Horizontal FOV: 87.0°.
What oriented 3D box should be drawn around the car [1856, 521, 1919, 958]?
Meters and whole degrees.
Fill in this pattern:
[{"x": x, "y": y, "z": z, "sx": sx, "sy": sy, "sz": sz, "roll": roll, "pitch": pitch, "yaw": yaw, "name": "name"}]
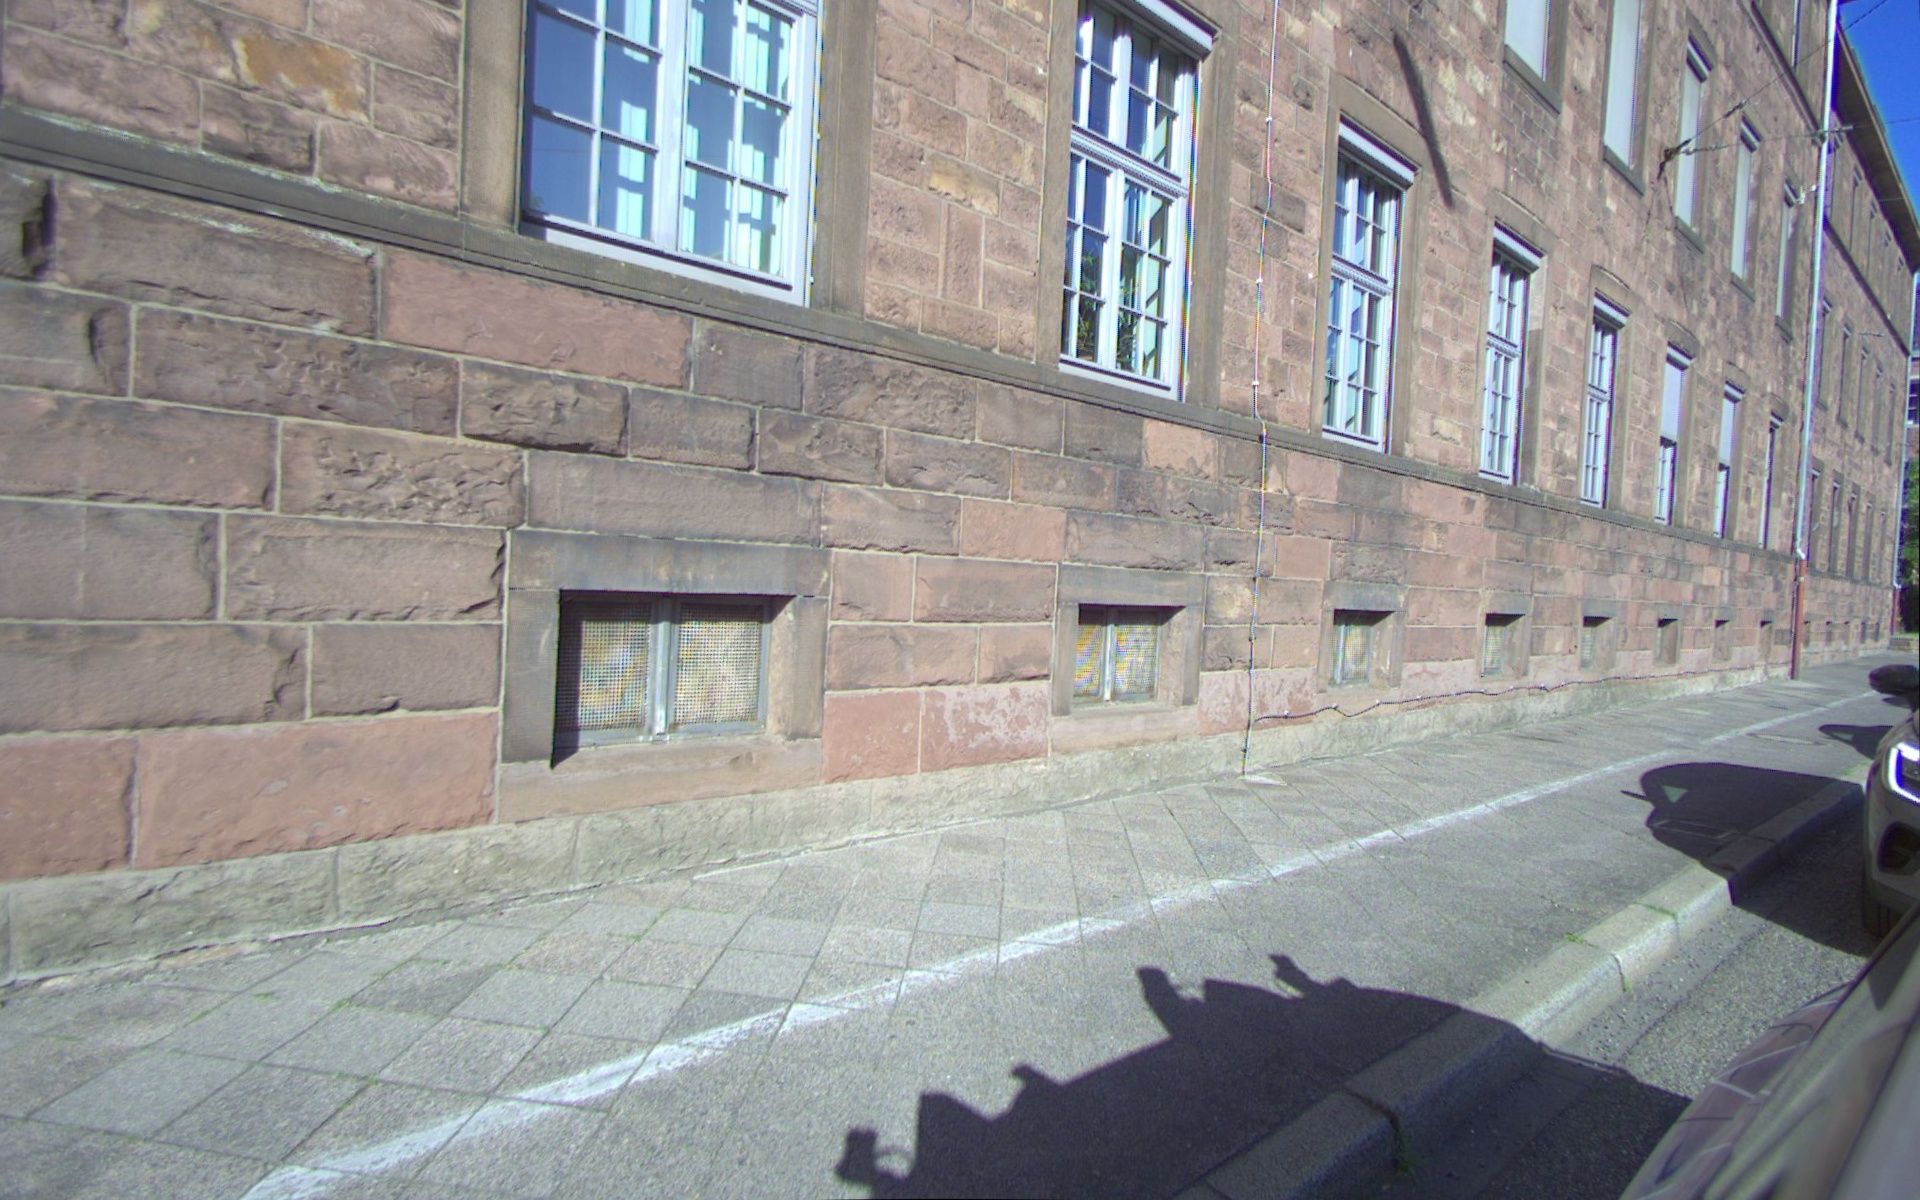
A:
[{"x": 5.424, "y": 0.556, "z": 4.502, "sx": 3.735, "sy": 1.624, "sz": 1.793, "roll": 1, "pitch": 1, "yaw": -43, "name": "car"}]
